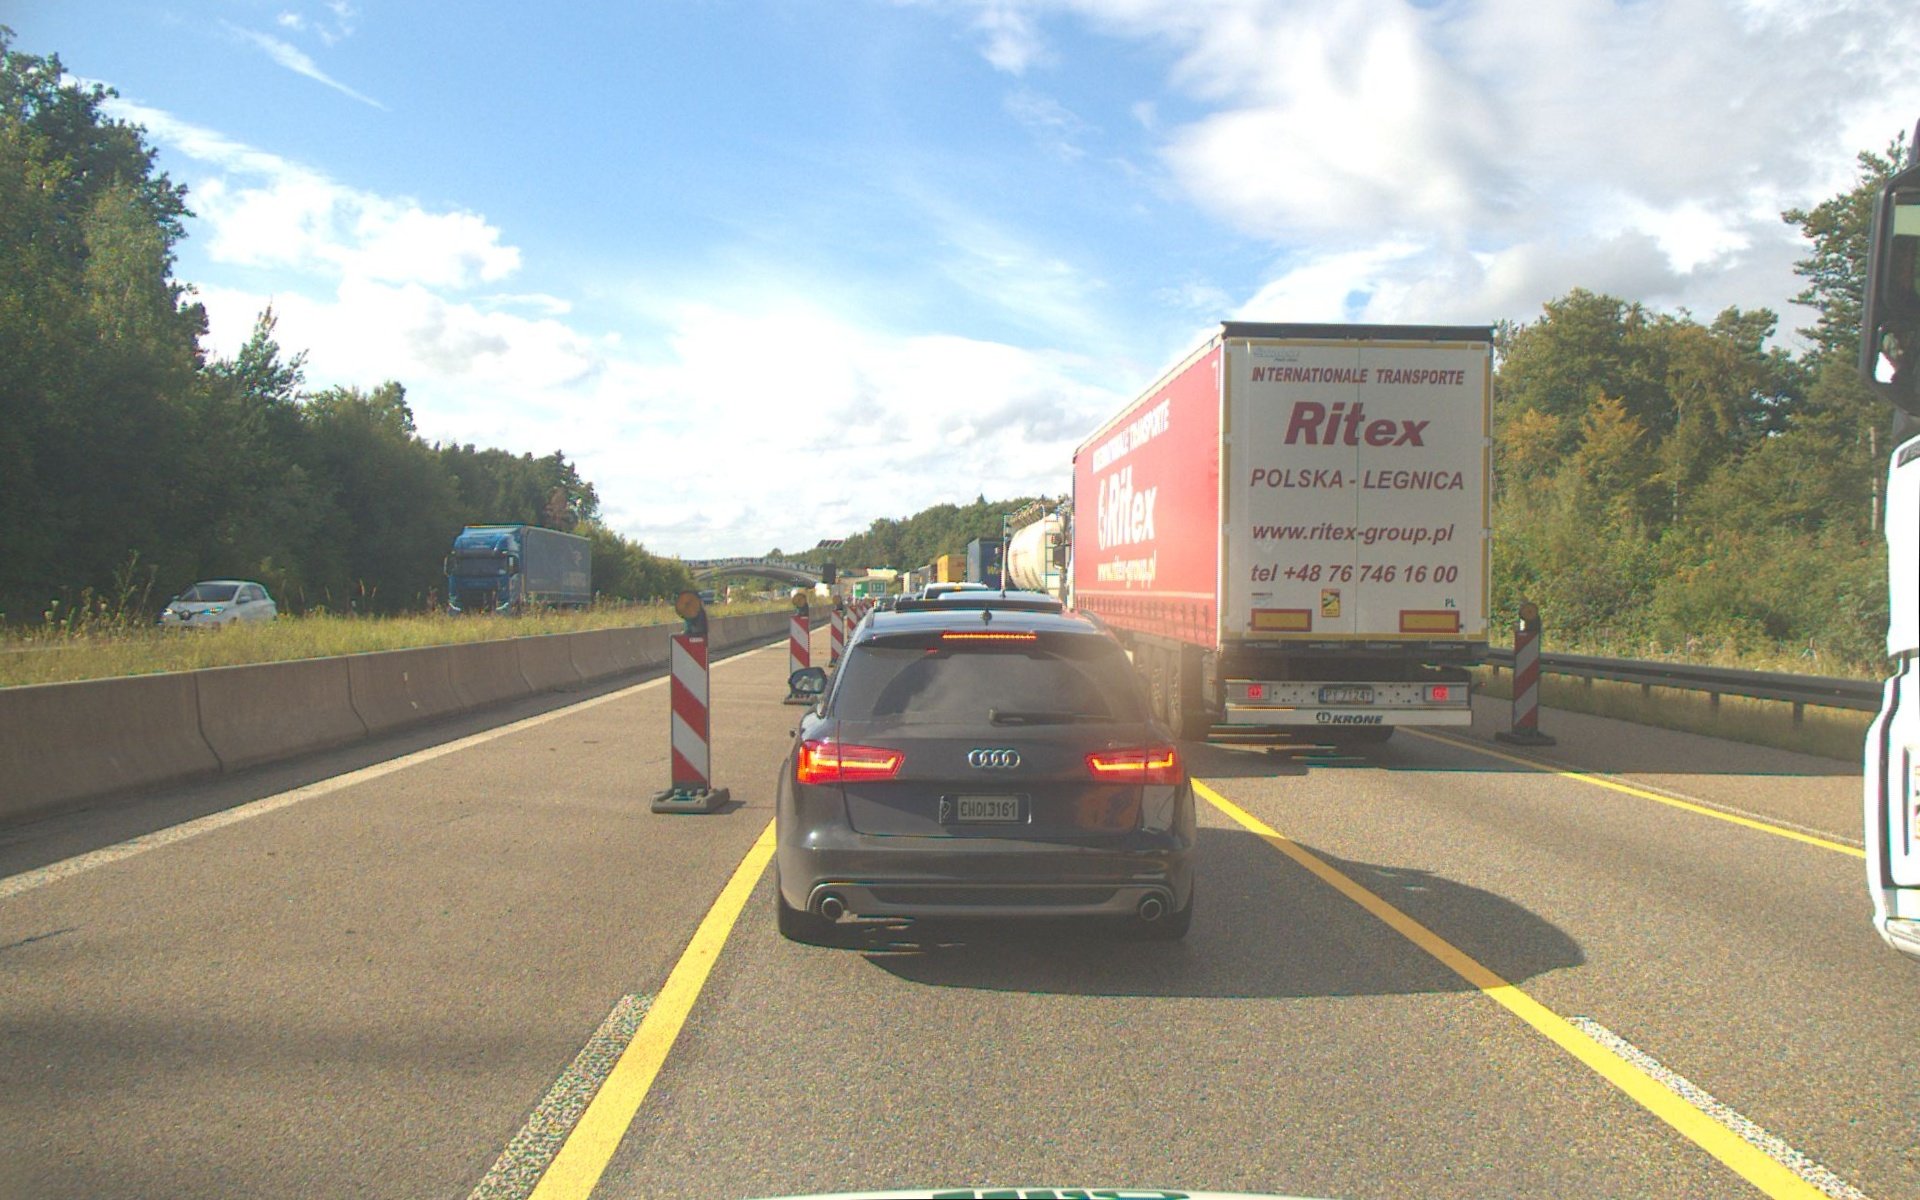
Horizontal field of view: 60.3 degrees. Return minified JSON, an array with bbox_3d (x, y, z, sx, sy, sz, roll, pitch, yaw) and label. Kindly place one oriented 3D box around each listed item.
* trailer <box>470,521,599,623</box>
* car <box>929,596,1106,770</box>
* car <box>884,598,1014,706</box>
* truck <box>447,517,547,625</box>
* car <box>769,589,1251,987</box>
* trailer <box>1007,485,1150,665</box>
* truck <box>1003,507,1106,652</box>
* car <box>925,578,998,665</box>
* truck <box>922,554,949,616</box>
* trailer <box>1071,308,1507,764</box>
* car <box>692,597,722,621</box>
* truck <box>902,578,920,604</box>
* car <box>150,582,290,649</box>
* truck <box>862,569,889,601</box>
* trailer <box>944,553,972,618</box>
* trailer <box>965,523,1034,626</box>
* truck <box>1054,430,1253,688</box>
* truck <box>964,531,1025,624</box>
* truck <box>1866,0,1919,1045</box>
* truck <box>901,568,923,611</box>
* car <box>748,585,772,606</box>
[{"bbox_3d":[-19.197,-1.181,75.589,2.566,4.214,13.370,1,0,-1],"label":"trailer"},{"bbox_3d":[0.468,0.721,15.791,1.493,1.464,3.284,1,0,-1],"label":"car"},{"bbox_3d":[-0.167,0.710,23.956,1.716,1.421,3.607,1,0,-1],"label":"car"},{"bbox_3d":[-19.097,-1.164,68.534,2.584,4.262,5.466,1,0,-1],"label":"truck"},{"bbox_3d":[0.165,0.724,8.250,1.811,1.489,3.999,1,0,-1],"label":"car"},{"bbox_3d":[2.855,-0.571,43.561,2.590,4.012,12.595,1,0,-1],"label":"trailer"},{"bbox_3d":[2.747,-0.558,49.733,2.605,4.041,5.777,1,0,-1],"label":"truck"},{"bbox_3d":[0.019,0.476,37.408,1.549,1.869,3.111,1,0,-1],"label":"car"},{"bbox_3d":[-2.101,-1.230,138.804,1.953,5.000,9.558,1,0,-2],"label":"truck"},{"bbox_3d":[3.405,-0.588,21.535,2.645,4.038,13.413,1,0,-1],"label":"trailer"},{"bbox_3d":[-18.877,0.693,123.408,1.680,1.736,3.522,1,0,-1],"label":"car"},{"bbox_3d":[-6.991,-1.278,235.313,2.515,3.527,7.395,1,0,-2],"label":"truck"},{"bbox_3d":[-18.624,0.379,41.838,1.751,1.588,3.999,1,0,-1],"label":"car"},{"bbox_3d":[-12.125,-2.090,236.006,3.241,4.248,9.688,1,0,-6],"label":"truck"},{"bbox_3d":[-0.159,-0.895,105.525,1.584,3.987,6.487,1,0,-2],"label":"trailer"},{"bbox_3d":[1.772,-1.079,78.293,2.748,4.490,10.430,1,0,-1],"label":"trailer"},{"bbox_3d":[3.223,-0.649,28.965,2.614,4.029,5.709,1,0,-2],"label":"truck"},{"bbox_3d":[1.685,-1.063,84.166,2.749,4.446,7.790,1,0,-1],"label":"truck"},{"bbox_3d":[4.508,-0.415,3.024,2.444,3.847,5.788,1,0,-1],"label":"truck"},{"bbox_3d":[-4.955,-1.032,170.581,2.094,4.332,7.069,1,0,-1],"label":"truck"},{"bbox_3d":[-19.500,-0.386,161.545,1.954,1.982,3.998,1,0,-3],"label":"car"}]
